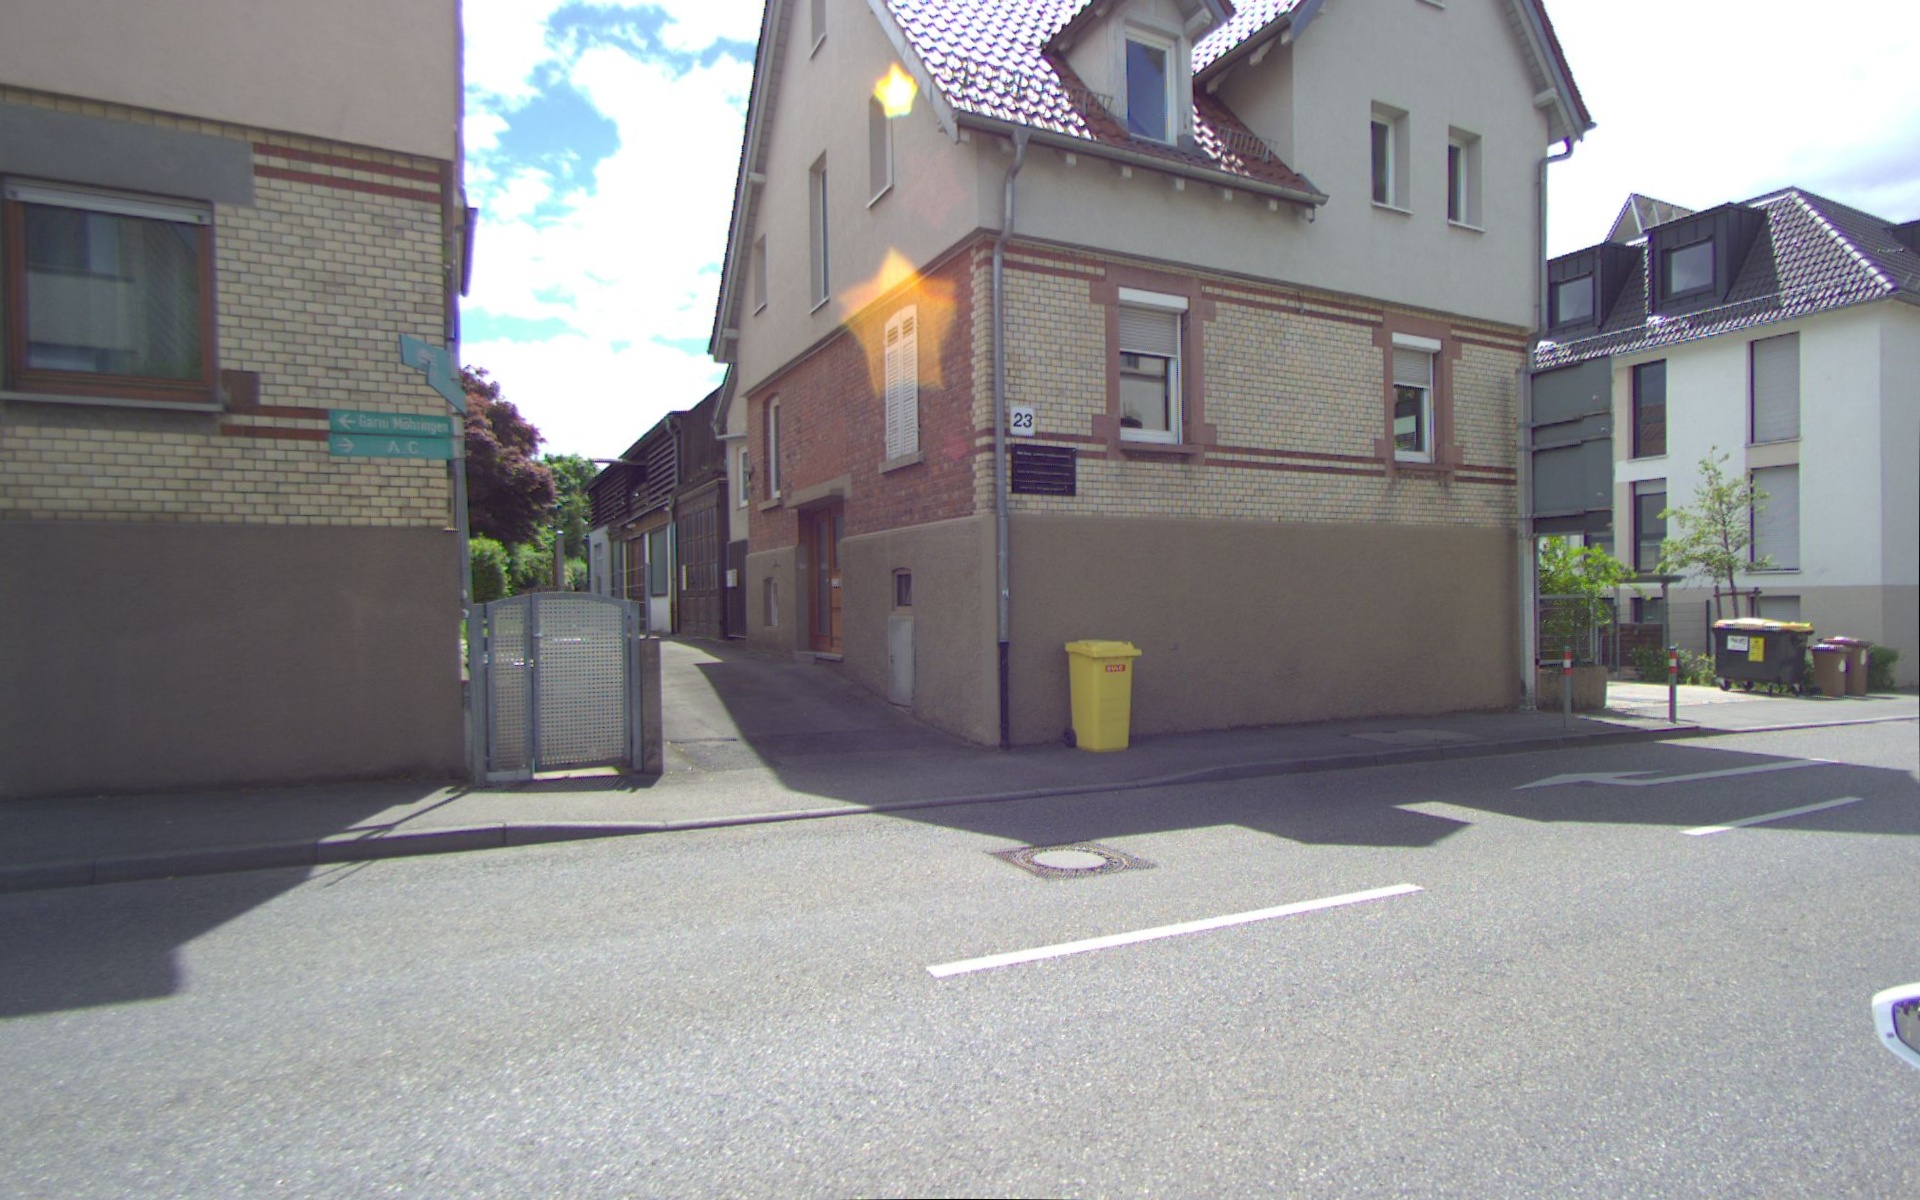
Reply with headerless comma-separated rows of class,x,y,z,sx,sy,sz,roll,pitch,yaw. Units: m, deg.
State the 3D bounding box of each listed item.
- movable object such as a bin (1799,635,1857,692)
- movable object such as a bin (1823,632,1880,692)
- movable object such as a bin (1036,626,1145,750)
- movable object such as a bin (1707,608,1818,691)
movable object such as a bin,16.089,1.173,18.622,0.649,1.014,0.638,1,0,-29
movable object such as a bin,16.775,1.150,18.902,0.653,1.089,0.637,1,0,-31
movable object such as a bin,1.312,0.862,10.179,0.793,1.177,0.761,1,0,-30
movable object such as a bin,15.078,0.902,18.898,1.158,1.465,1.327,1,0,-32
